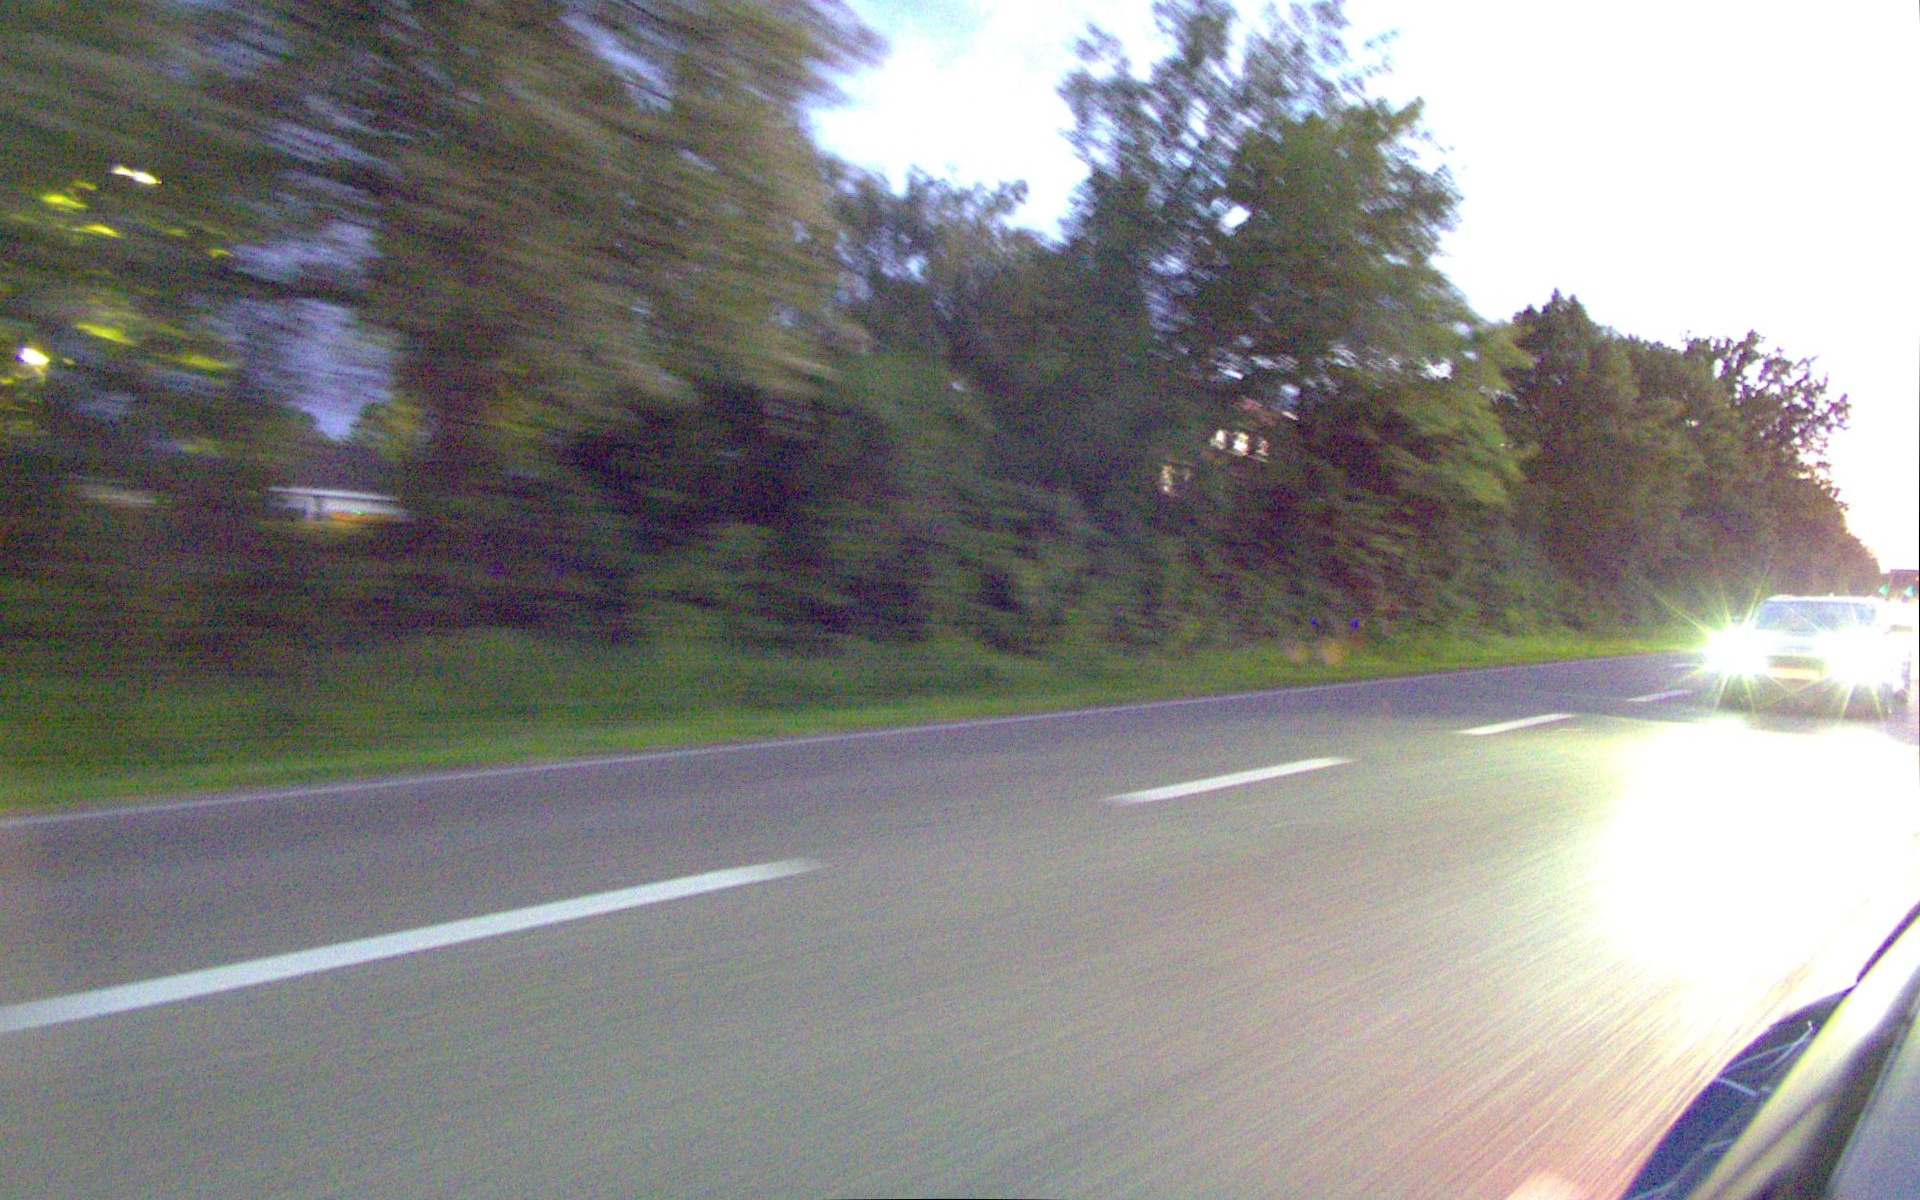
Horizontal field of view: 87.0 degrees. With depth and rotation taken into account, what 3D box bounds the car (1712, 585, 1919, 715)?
[{"bbox_3d":[12.948,0.622,14.994,4.629,1.630,1.997,0,1,-41],"label":"car"}]
